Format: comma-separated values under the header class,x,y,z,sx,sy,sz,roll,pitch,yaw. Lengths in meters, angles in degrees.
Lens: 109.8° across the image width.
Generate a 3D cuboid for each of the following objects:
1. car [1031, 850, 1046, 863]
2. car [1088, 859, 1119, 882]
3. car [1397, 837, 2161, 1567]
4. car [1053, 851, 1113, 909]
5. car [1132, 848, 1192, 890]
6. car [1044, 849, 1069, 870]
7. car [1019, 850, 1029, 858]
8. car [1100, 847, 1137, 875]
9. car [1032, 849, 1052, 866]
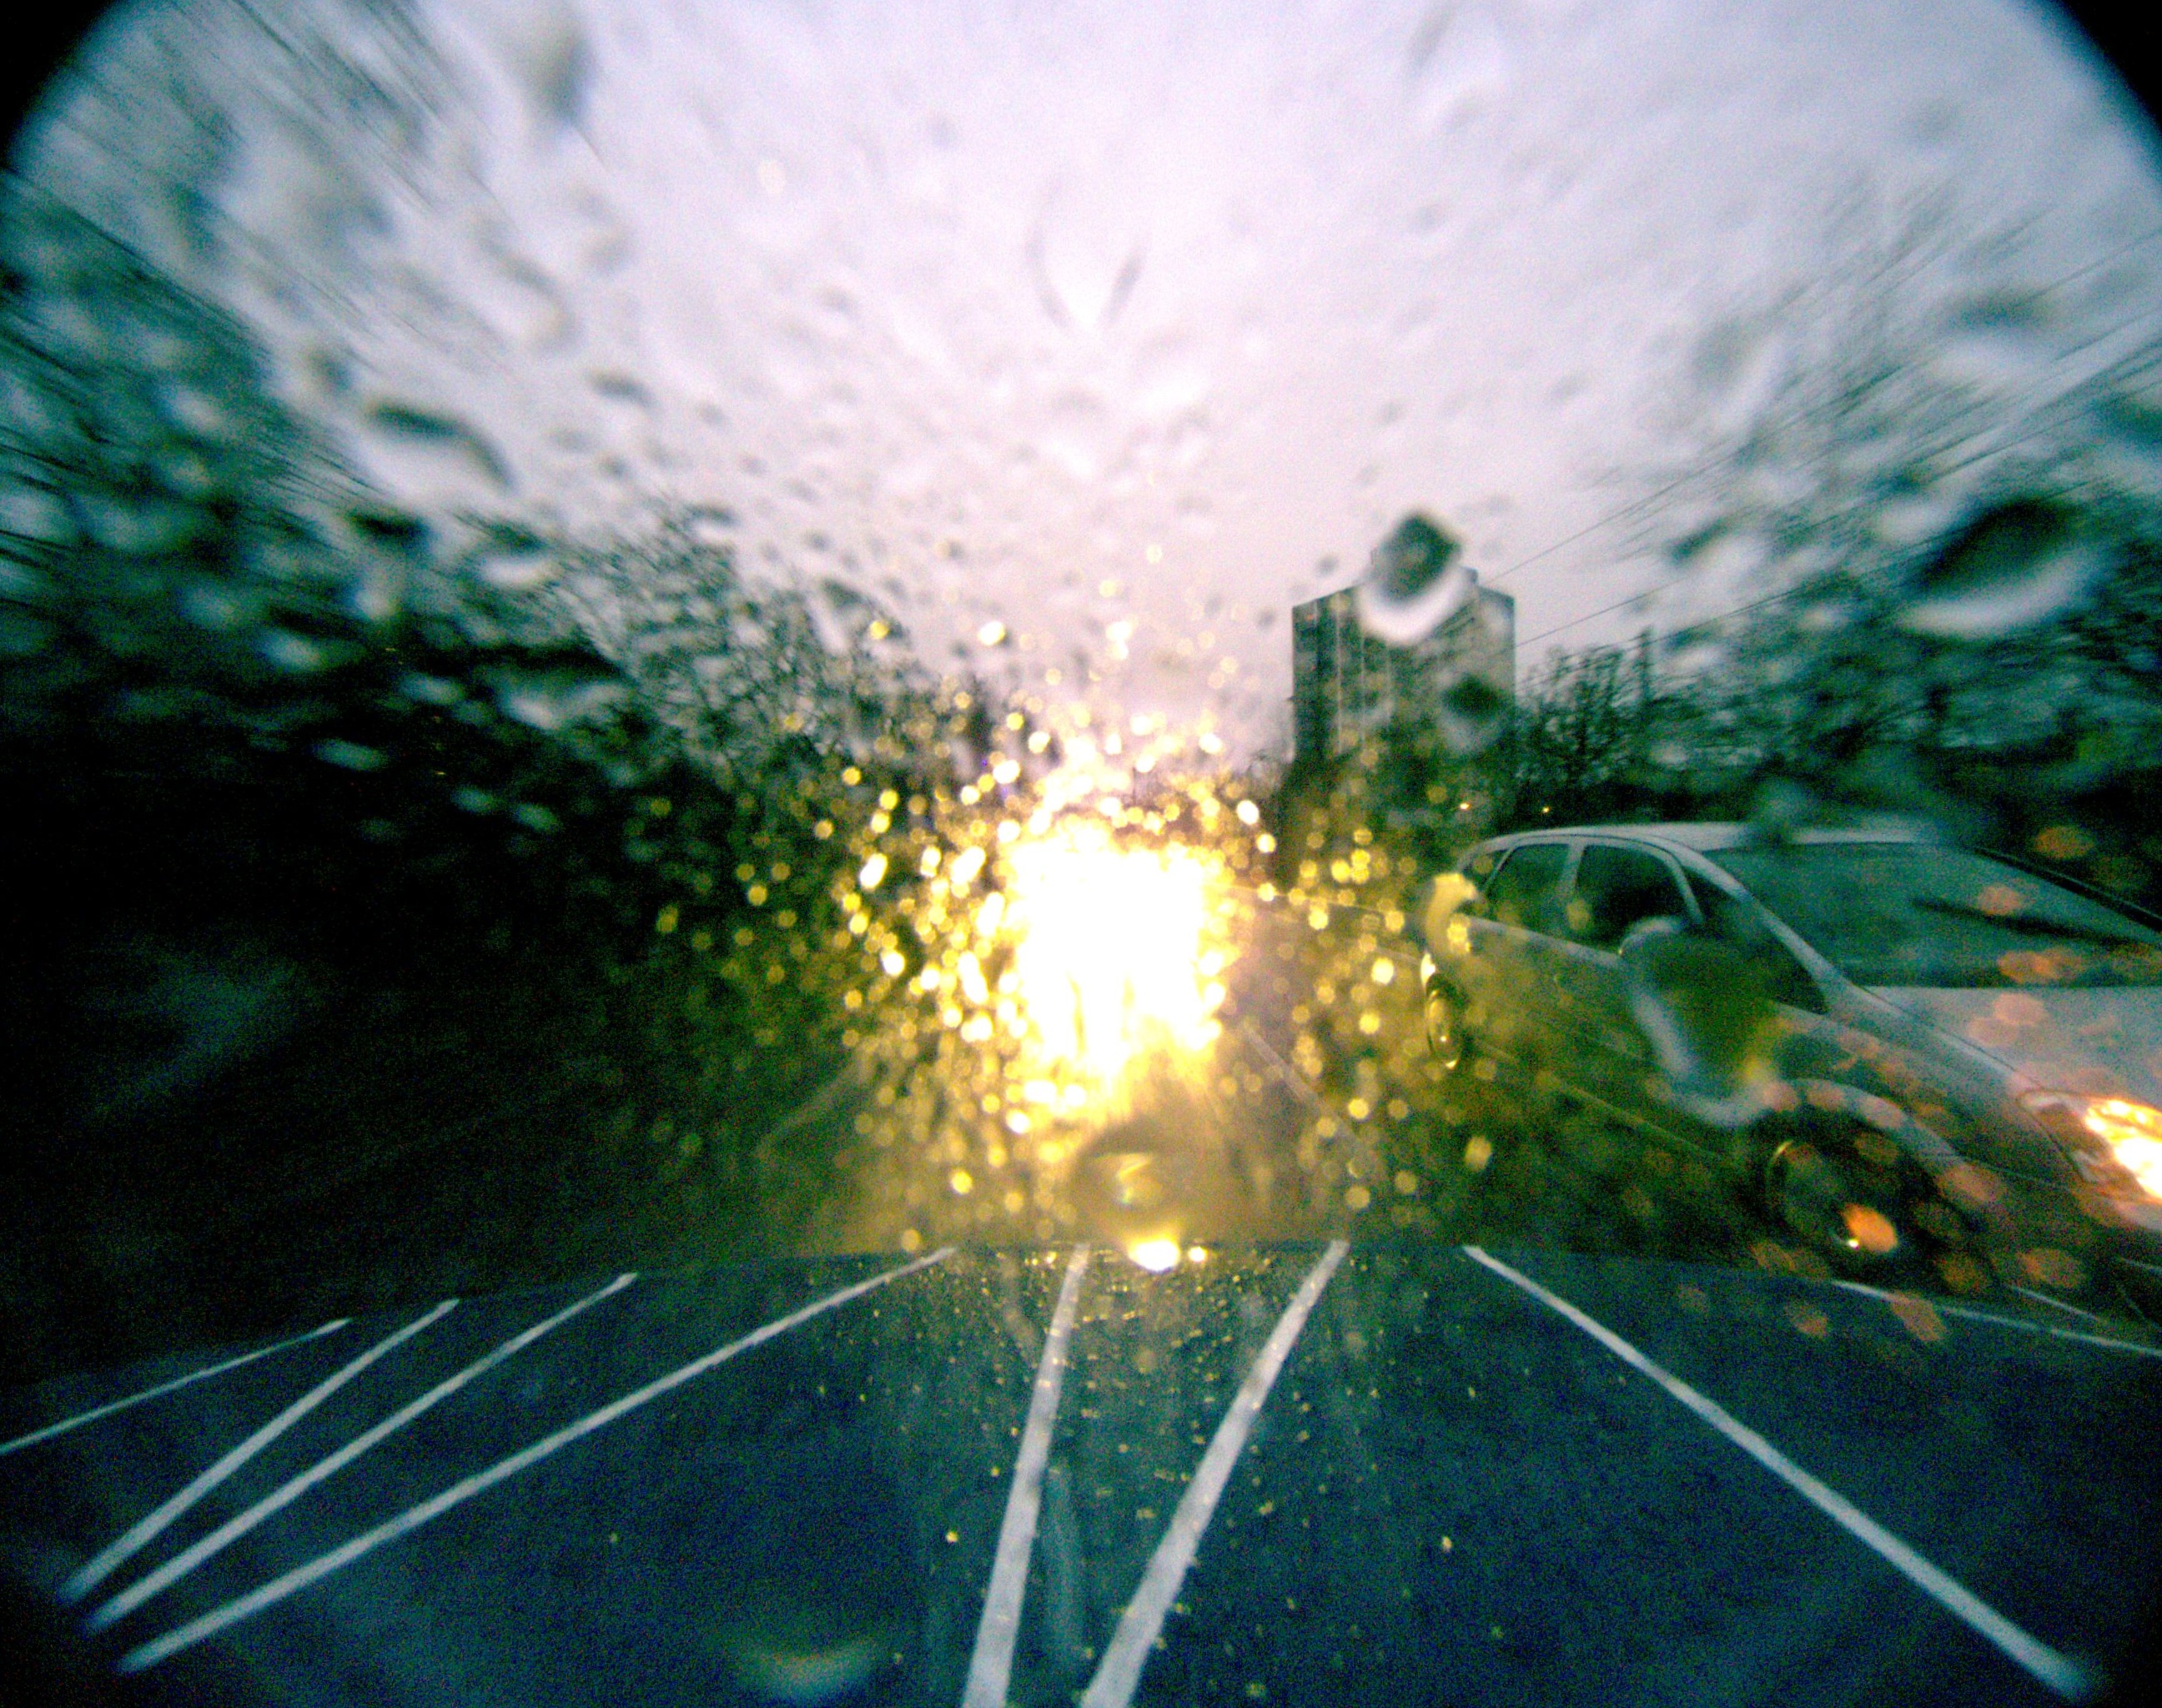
class,x,y,z,sx,sy,sz,roll,pitch,yaw
car,-5.711,0.339,101.700,1.953,1.590,4.123,-1,0,-3
car,1.796,1.285,61.647,1.999,1.652,3.997,-2,1,-6
car,3.154,0.728,3.427,1.694,1.530,4.190,-2,0,0
car,0.065,0.723,23.305,1.679,1.590,4.044,-1,0,0
car,3.262,0.567,31.264,1.953,1.590,4.123,-1,0,-1
car,-1.978,0.397,61.455,1.953,1.590,4.123,-1,0,-1
car,-11.646,0.030,155.029,1.954,1.590,4.121,-1,0,-7
car,2.205,0.374,46.112,1.953,1.590,4.123,-1,0,-1
car,-3.907,0.355,77.027,1.953,1.590,4.123,-1,0,-3
